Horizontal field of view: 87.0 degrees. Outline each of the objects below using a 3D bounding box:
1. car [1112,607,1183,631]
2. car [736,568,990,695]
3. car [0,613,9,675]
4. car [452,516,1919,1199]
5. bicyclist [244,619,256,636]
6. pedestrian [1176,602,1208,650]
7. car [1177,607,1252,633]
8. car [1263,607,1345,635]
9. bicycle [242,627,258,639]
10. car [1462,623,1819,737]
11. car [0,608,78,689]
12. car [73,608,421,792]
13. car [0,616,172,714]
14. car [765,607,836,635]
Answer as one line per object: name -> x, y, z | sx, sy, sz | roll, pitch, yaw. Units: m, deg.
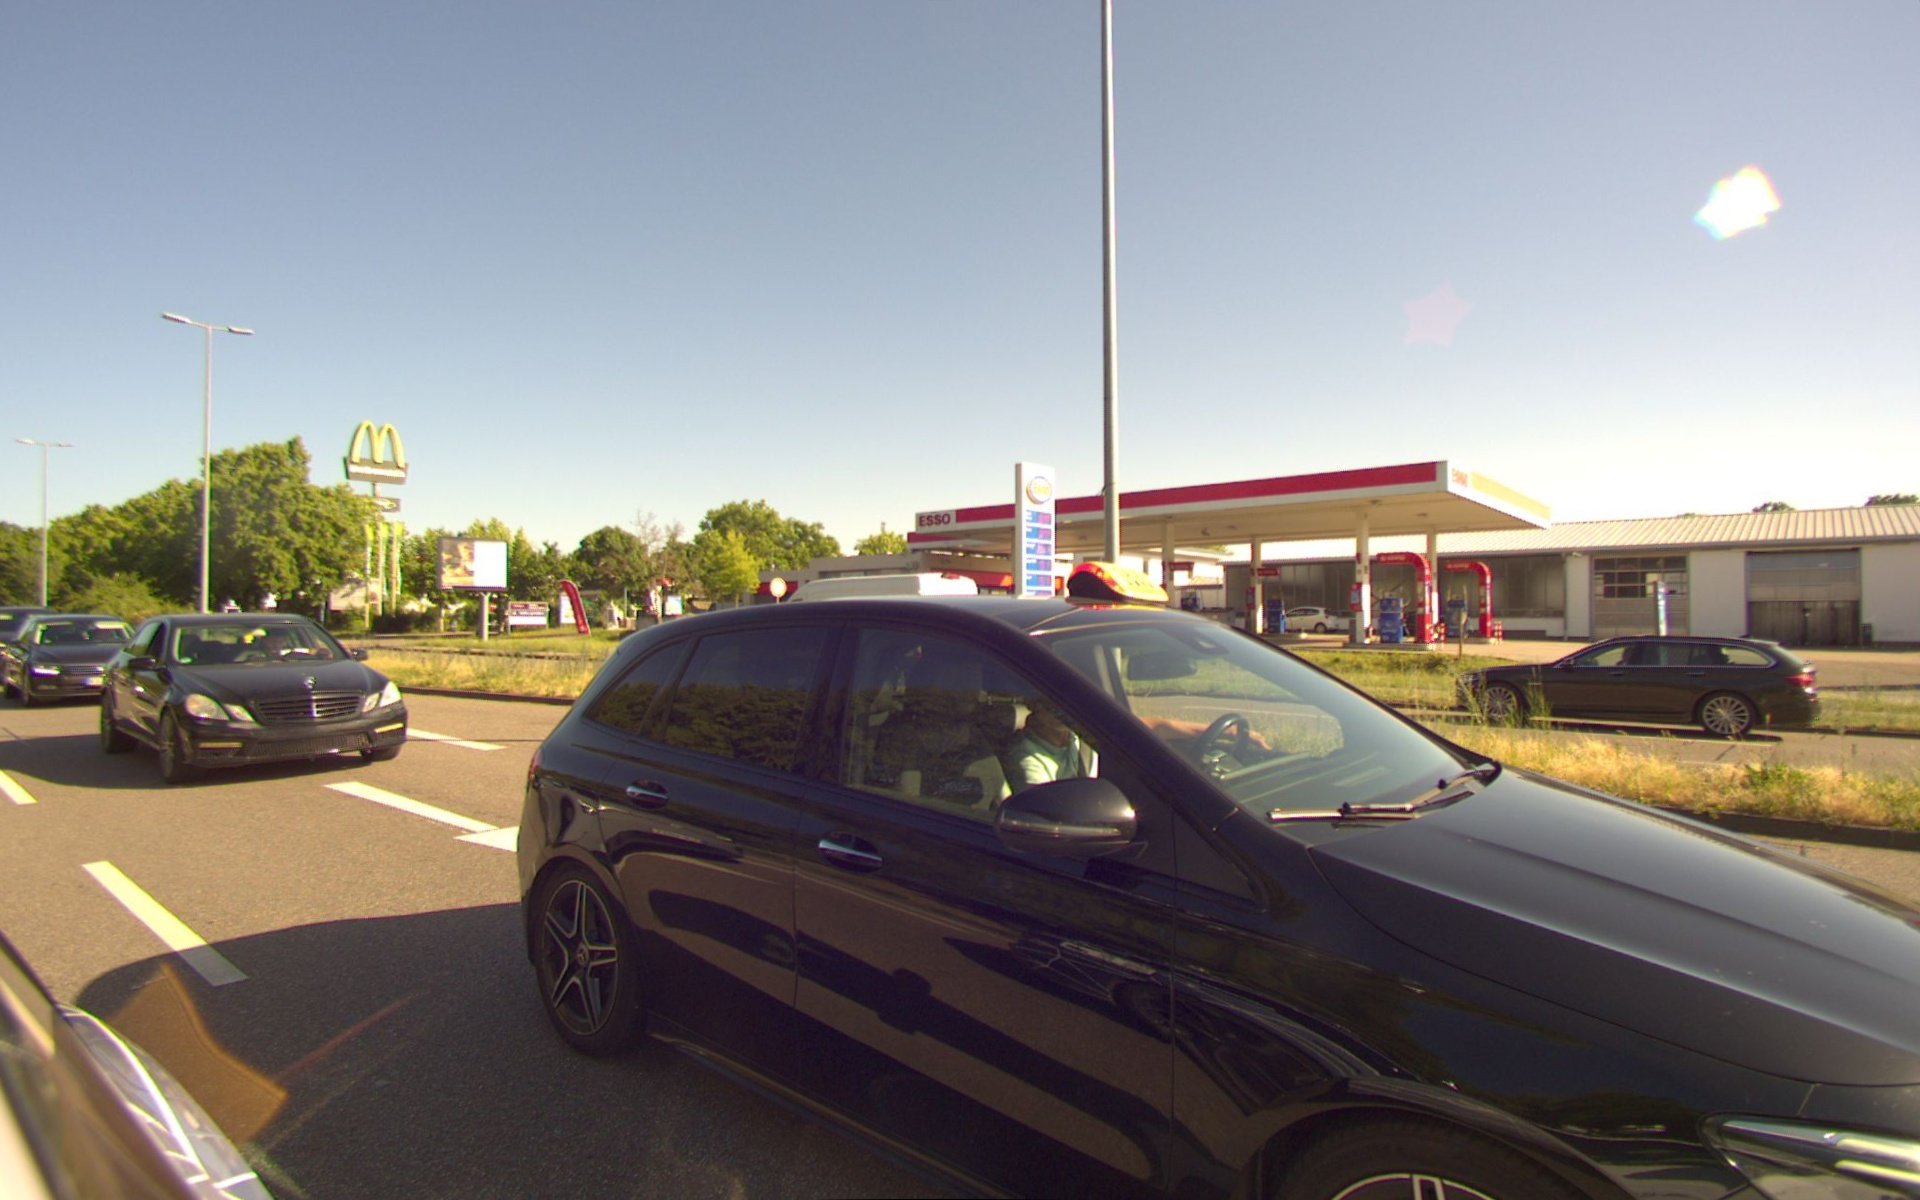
car -> 11.502, 1.168, 62.193 | 3.975, 1.420, 1.661 | 0, -3, 40
car -> -2.275, 0.692, 22.350 | 5.817, 2.466, 2.001 | 0, -4, 40
car -> -26.175, 1.140, 26.365 | 3.774, 1.567, 1.615 | -1, 0, 40
car -> 0.373, 0.656, 2.952 | 4.400, 1.502, 1.741 | 0, 0, 40
bicyclist -> -54.917, 2.124, 78.276 | 0.700, 1.298, 0.621 | 0, 0, 42
pedestrian -> 8.692, 0.948, 37.881 | 0.903, 1.763, 0.780 | 0, 0, 40
car -> 14.901, 1.155, 59.394 | 3.975, 1.420, 1.661 | 0, -3, 40
car -> 18.904, 1.142, 55.653 | 3.975, 1.420, 1.661 | 0, -3, 40
bicycle -> -54.882, 2.515, 78.230 | 1.741, 0.874, 0.621 | 0, 0, 42
car -> 10.539, 1.181, 15.893 | 4.476, 1.502, 1.740 | -1, -4, 41
car -> -20.885, 1.021, 22.264 | 3.876, 1.629, 1.653 | -1, 0, 40
car -> -7.366, 0.821, 10.278 | 4.400, 1.449, 1.845 | 0, 0, 40
car -> -15.188, 1.019, 17.380 | 4.284, 1.438, 1.775 | -1, 0, 40
car -> -8.803, 1.152, 55.727 | 3.975, 1.420, 1.661 | 0, -3, 40
